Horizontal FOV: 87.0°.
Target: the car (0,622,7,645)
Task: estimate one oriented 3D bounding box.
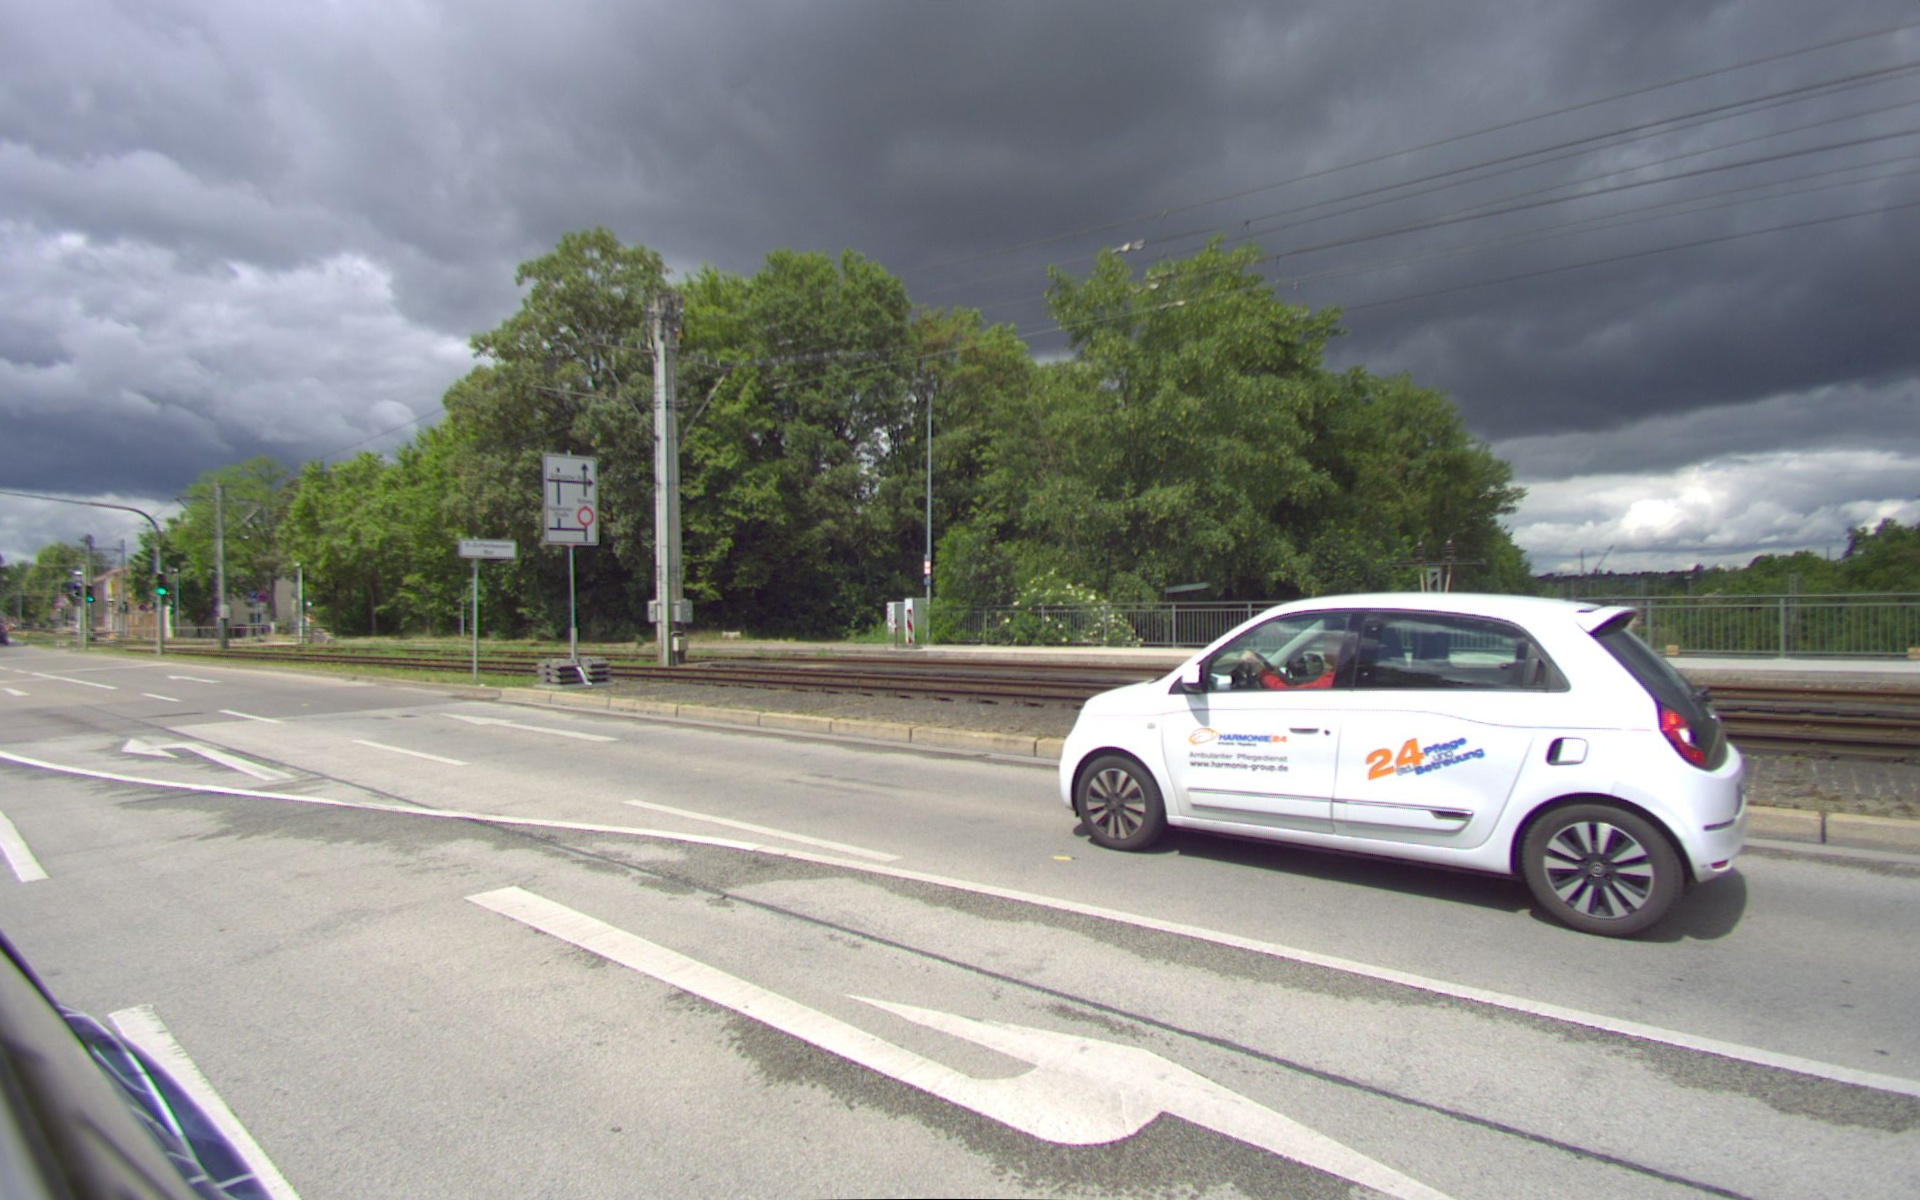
[{"bbox_3d":[-74.164,2.615,77.369,4.229,1.688,1.688,-2,1,44],"label":"car"}]

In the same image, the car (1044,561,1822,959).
[{"bbox_3d":[2.429,0.642,5.709,3.652,1.538,1.577,-1,-1,40],"label":"car"}]
